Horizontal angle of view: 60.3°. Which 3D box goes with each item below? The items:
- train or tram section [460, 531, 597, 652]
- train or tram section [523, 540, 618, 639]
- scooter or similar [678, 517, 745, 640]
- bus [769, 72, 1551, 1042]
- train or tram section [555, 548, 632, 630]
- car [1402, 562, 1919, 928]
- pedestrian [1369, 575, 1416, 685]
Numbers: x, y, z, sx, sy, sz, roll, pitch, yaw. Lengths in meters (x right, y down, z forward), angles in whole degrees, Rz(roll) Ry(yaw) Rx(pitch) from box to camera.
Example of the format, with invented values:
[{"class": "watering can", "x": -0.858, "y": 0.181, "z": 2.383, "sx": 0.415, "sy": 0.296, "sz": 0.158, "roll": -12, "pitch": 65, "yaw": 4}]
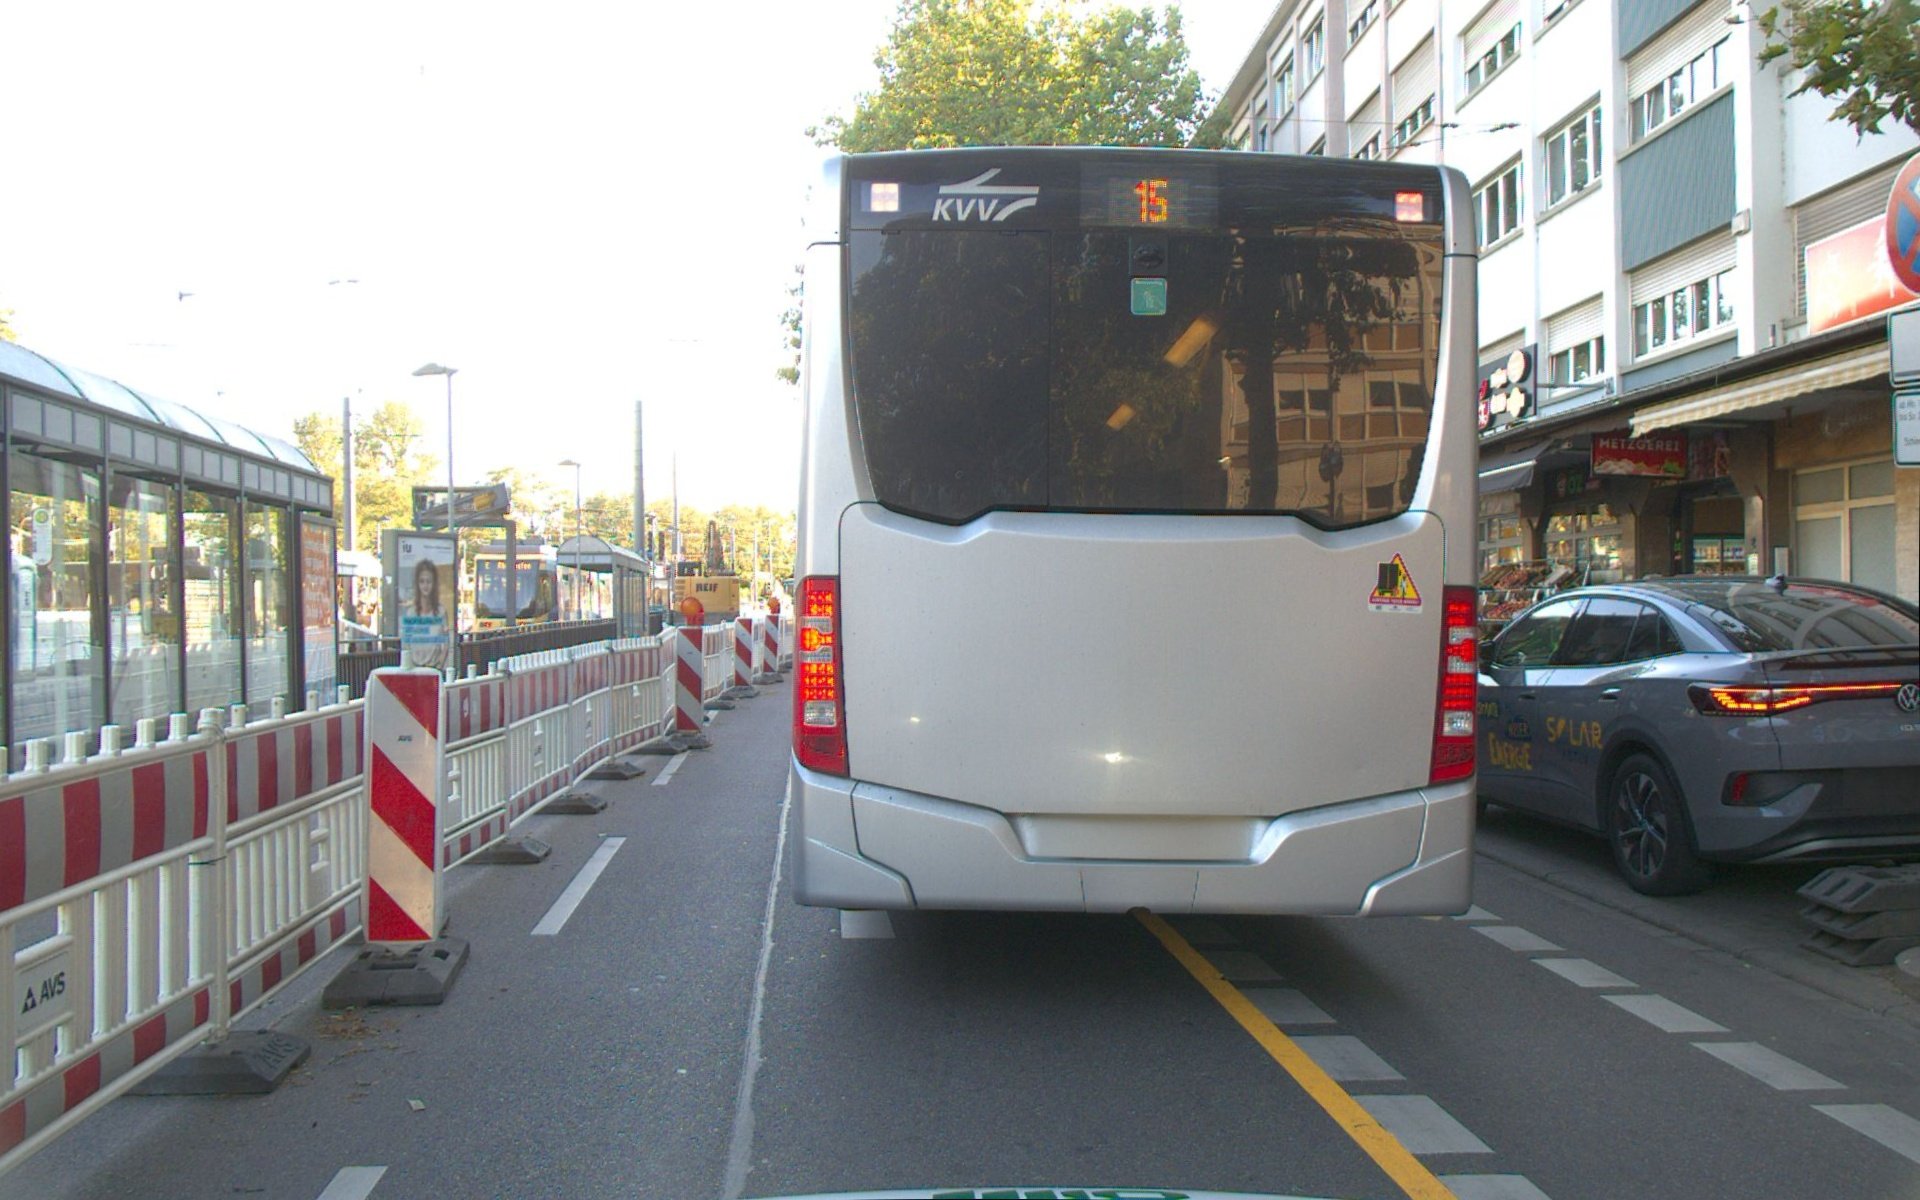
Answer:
[{"class": "train or tram section", "x": -14.271, "y": -0.236, "z": 55.631, "sx": 2.634, "sy": 3.595, "sz": 11.756, "roll": 1, "pitch": 0, "yaw": -6}, {"class": "train or tram section", "x": -15.676, "y": -0.370, "z": 67.278, "sx": 2.636, "sy": 3.621, "sz": 11.560, "roll": 1, "pitch": 0, "yaw": -8}, {"class": "scooter or similar", "x": -9.632, "y": -0.792, "z": 64.267, "sx": 2.422, "sy": 4.549, "sz": 5.962, "roll": 0, "pitch": 0, "yaw": -8}, {"class": "bus", "x": 0.626, "y": -0.129, "z": 9.516, "sx": 2.558, "sy": 3.181, "sz": 7.991, "roll": 1, "pitch": 0, "yaw": -1}, {"class": "train or tram section", "x": -17.283, "y": -0.461, "z": 78.703, "sx": 2.636, "sy": 3.594, "sz": 11.560, "roll": 1, "pitch": 0, "yaw": -8}, {"class": "car", "x": 4.377, "y": 0.635, "z": 9.822, "sx": 1.955, "sy": 1.609, "sz": 4.363, "roll": -3, "pitch": 1, "yaw": -5}, {"class": "pedestrian", "x": 6.802, "y": 0.467, "z": 26.008, "sx": 0.649, "sy": 1.696, "sz": 0.601, "roll": -2, "pitch": -1, "yaw": 15}]
